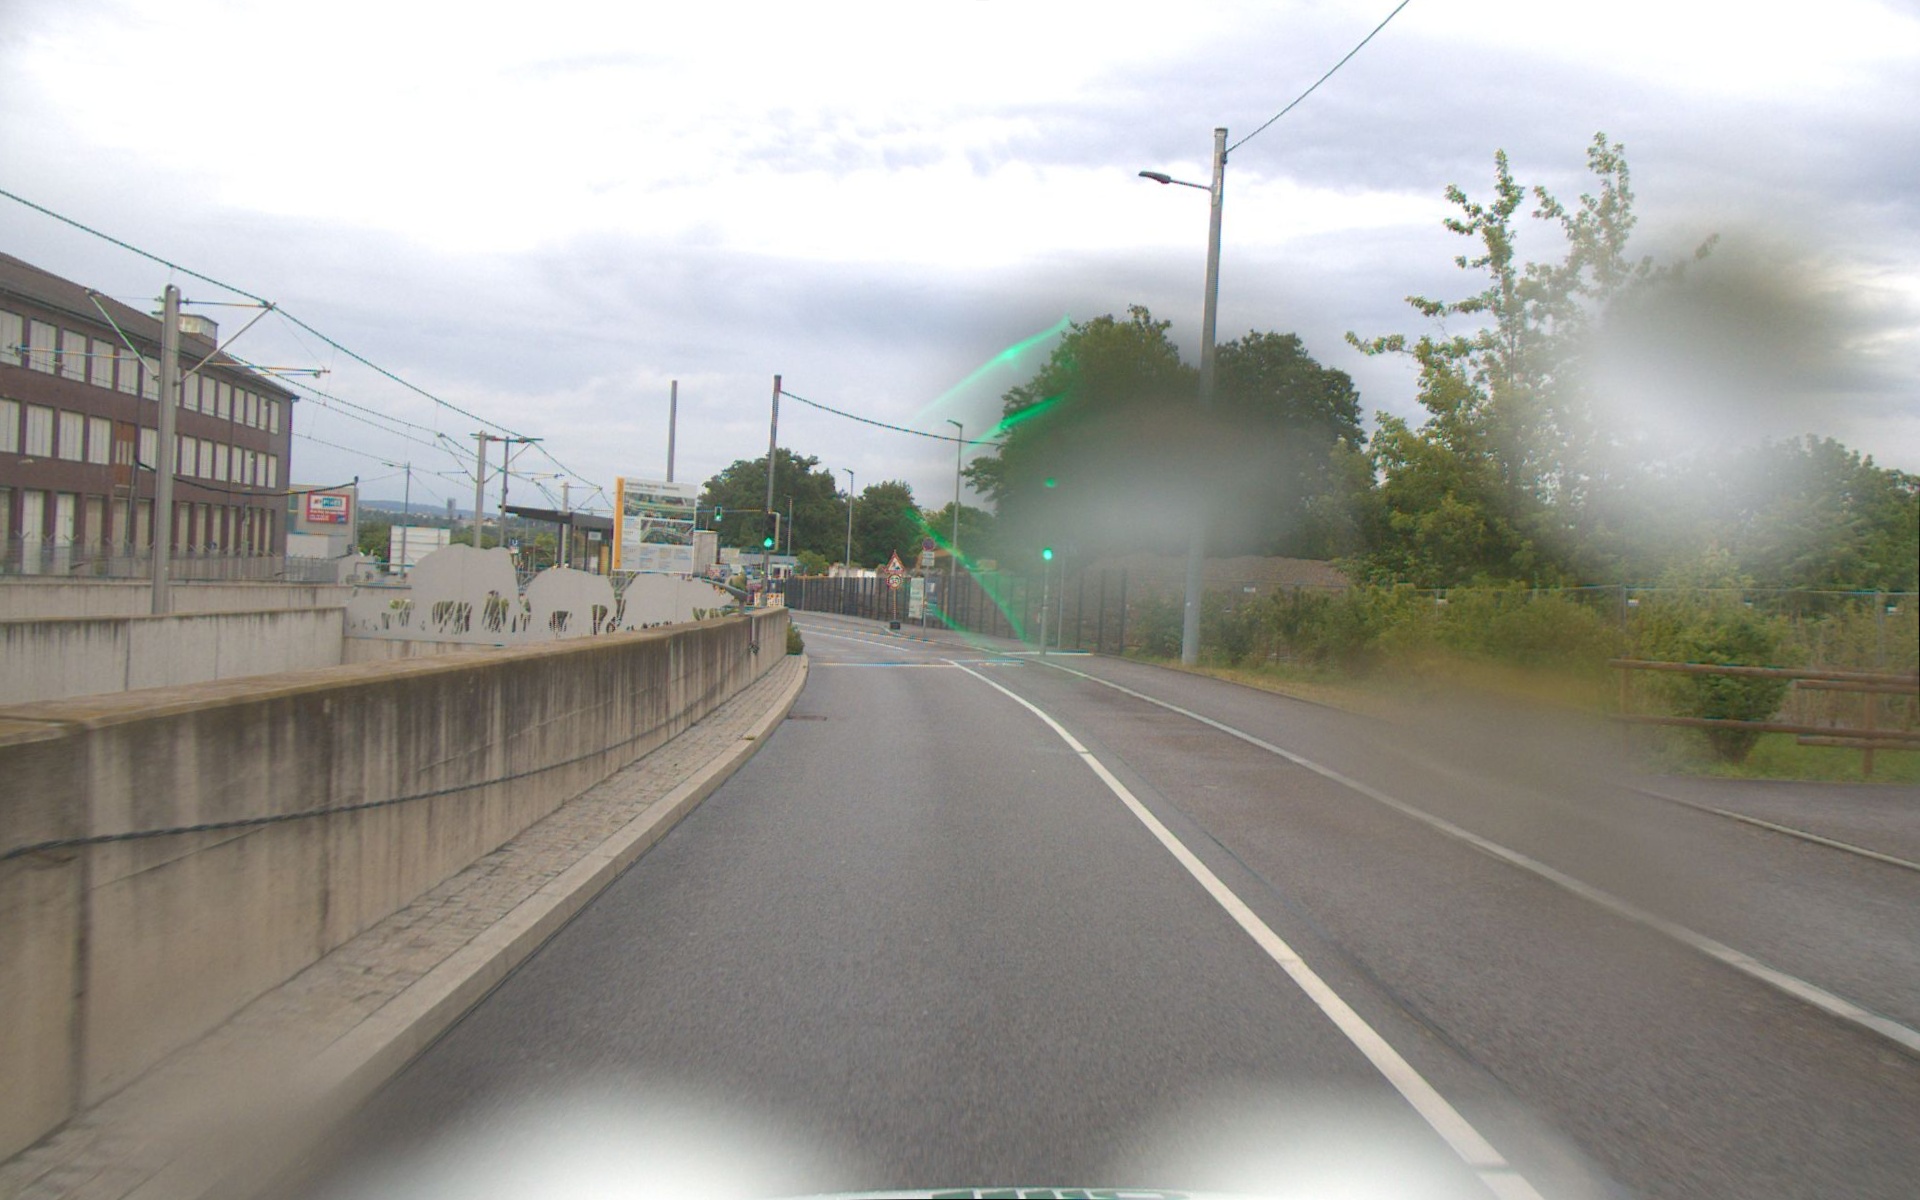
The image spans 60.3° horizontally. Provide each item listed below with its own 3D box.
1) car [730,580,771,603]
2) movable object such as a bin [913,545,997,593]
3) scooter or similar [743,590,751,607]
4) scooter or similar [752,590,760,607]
[{"bbox_3d":[-17.991,-0.713,142.338,1.781,1.825,4.411,2,0,17],"label":"car"},{"bbox_3d":[-0.705,-4.201,224.648,11.014,6.100,3.487,1,-1,-6],"label":"movable object such as a bin"},{"bbox_3d":[-17.554,-0.132,136.222,0.603,1.375,1.909,2,0,-7],"label":"scooter or similar"},{"bbox_3d":[-16.845,-0.139,136.302,0.603,1.375,1.909,2,0,-7],"label":"scooter or similar"}]
